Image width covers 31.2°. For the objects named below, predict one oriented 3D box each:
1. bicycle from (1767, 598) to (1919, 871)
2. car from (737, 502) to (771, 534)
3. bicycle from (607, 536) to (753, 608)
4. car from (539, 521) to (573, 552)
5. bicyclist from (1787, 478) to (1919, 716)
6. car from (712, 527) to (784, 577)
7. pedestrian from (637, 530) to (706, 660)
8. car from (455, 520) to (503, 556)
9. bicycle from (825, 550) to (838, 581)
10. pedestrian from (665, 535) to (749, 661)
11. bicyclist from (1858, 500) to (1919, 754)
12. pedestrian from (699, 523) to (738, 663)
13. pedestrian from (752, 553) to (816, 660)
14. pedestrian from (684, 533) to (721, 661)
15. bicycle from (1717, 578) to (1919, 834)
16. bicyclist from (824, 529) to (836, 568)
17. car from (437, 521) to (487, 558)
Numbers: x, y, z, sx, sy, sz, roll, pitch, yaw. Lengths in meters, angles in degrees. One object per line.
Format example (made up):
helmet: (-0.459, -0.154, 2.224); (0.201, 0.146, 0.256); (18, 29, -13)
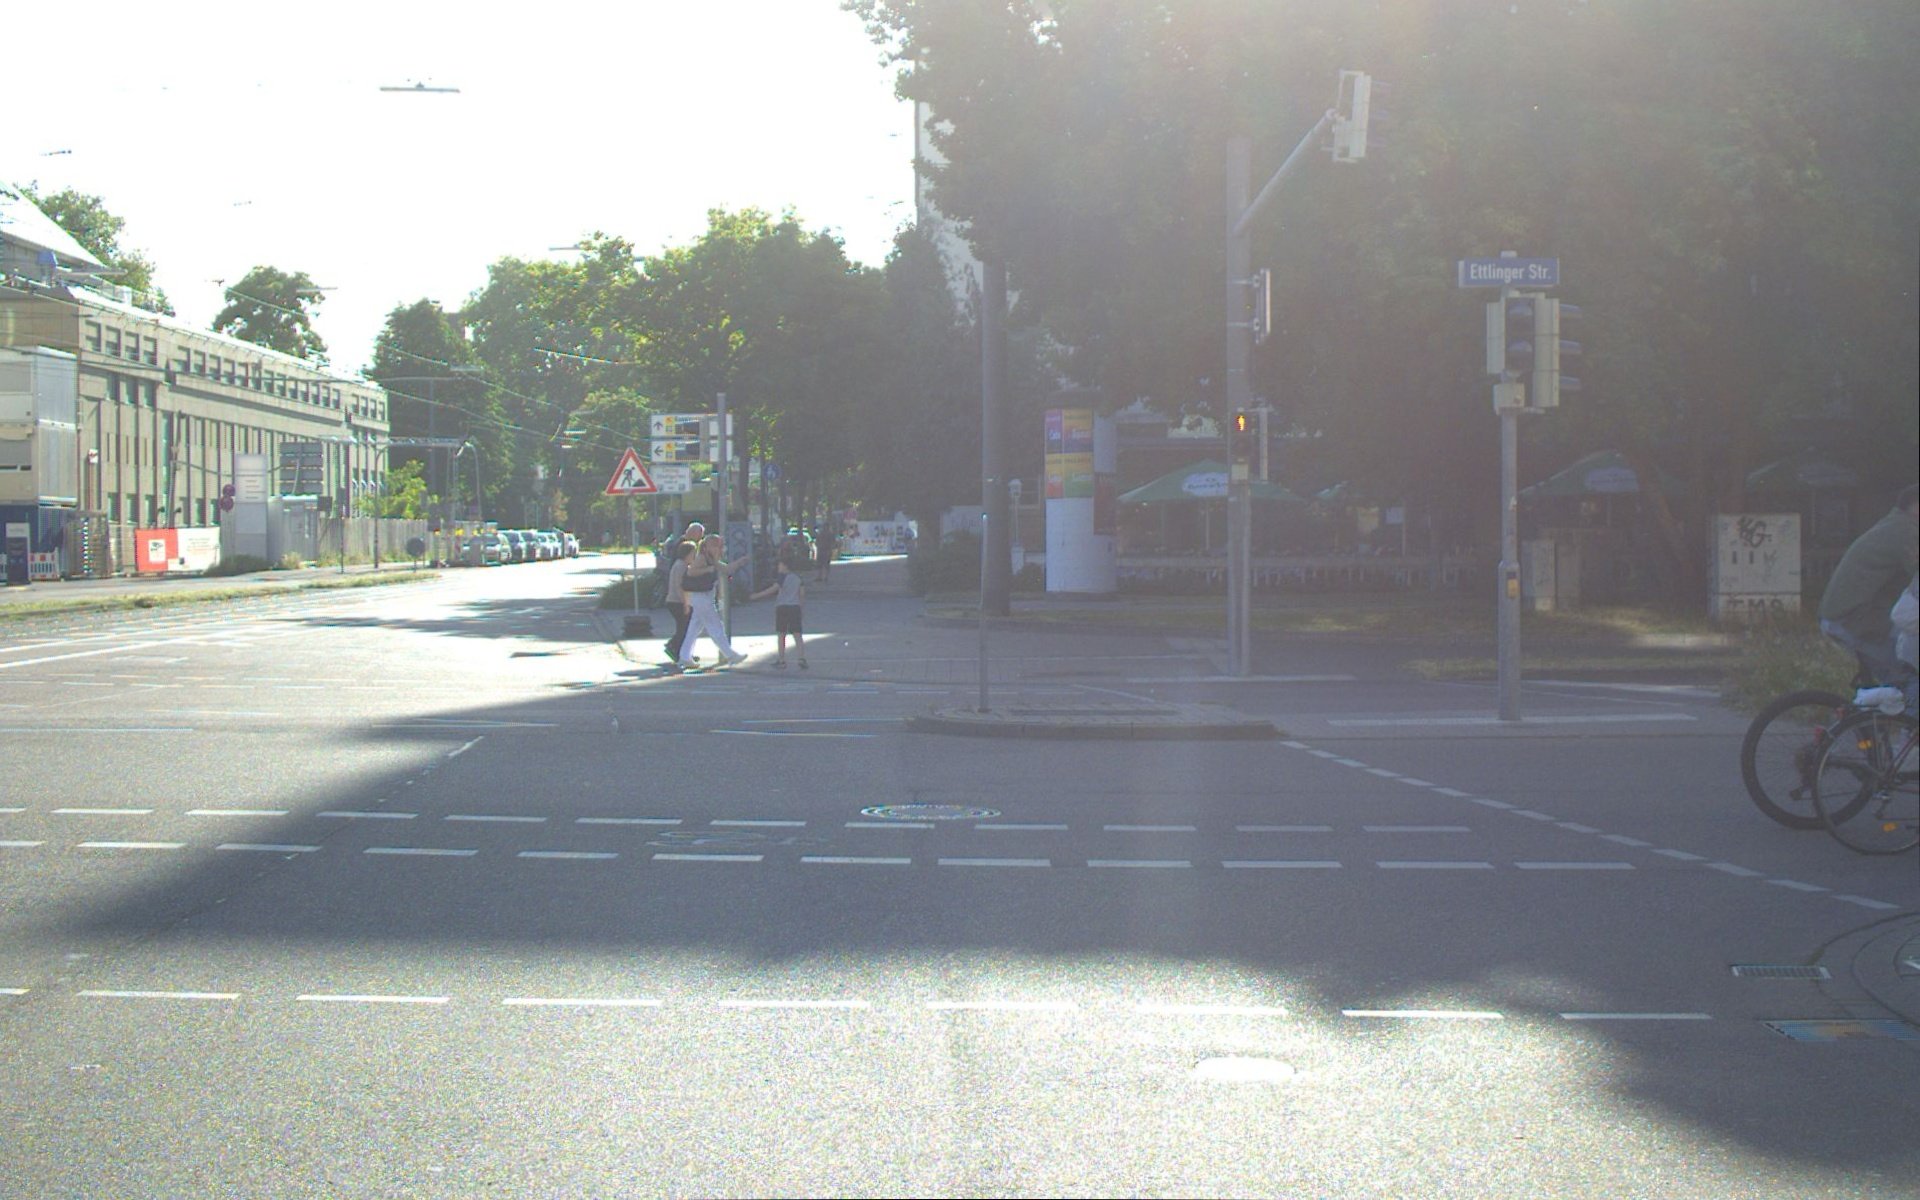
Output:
bicycle: (4.988, 0.637, 16.866); (1.851, 1.287, 0.792); (0, 1, -4)
car: (-13.205, -5.270, 220.657); (1.993, 2.007, 4.000); (-1, 1, -1)
bicycle: (-5.470, -0.557, 67.136); (2.748, 1.363, 0.630); (1, 0, 11)
car: (-22.826, -3.602, 194.487); (1.483, 1.744, 4.000); (-1, 1, -1)
bicyclist: (4.778, -0.024, 17.937); (0.720, 1.214, 0.798); (0, 1, -1)
car: (-5.593, -1.278, 91.156); (1.819, 1.274, 4.001); (0, 1, -3)
pedestrian: (-3.676, -0.070, 43.845); (0.795, 1.634, 0.533); (0, 1, 2)
car: (-22.405, -2.870, 160.301); (1.731, 1.647, 4.000); (0, 1, -1)
bicycle: (-3.681, -1.000, 98.442); (0.324, 0.865, 1.483); (-1, 1, -1)
pedestrian: (-3.190, -0.029, 43.435); (0.984, 1.582, 0.660); (0, 0, 1)
bicyclist: (4.993, 0.119, 16.879); (0.925, 1.214, 0.797); (0, 1, -3)
pedestrian: (-3.116, -0.099, 44.407); (0.361, 1.798, 0.506); (0, 1, 11)
pedestrian: (-2.210, 0.080, 43.310); (0.752, 1.328, 0.742); (0, 0, 1)
pedestrian: (-3.353, -0.047, 44.737); (0.441, 1.657, 0.376); (-1, 1, -1)
bicycle: (5.038, 0.534, 17.933); (1.985, 1.287, 0.792); (0, 1, -2)
bicyclist: (-3.711, -1.468, 98.363); (0.318, 1.123, 0.291); (-1, 1, -1)
car: (-22.609, -2.741, 156.113); (1.731, 1.647, 4.000); (0, 1, -1)
